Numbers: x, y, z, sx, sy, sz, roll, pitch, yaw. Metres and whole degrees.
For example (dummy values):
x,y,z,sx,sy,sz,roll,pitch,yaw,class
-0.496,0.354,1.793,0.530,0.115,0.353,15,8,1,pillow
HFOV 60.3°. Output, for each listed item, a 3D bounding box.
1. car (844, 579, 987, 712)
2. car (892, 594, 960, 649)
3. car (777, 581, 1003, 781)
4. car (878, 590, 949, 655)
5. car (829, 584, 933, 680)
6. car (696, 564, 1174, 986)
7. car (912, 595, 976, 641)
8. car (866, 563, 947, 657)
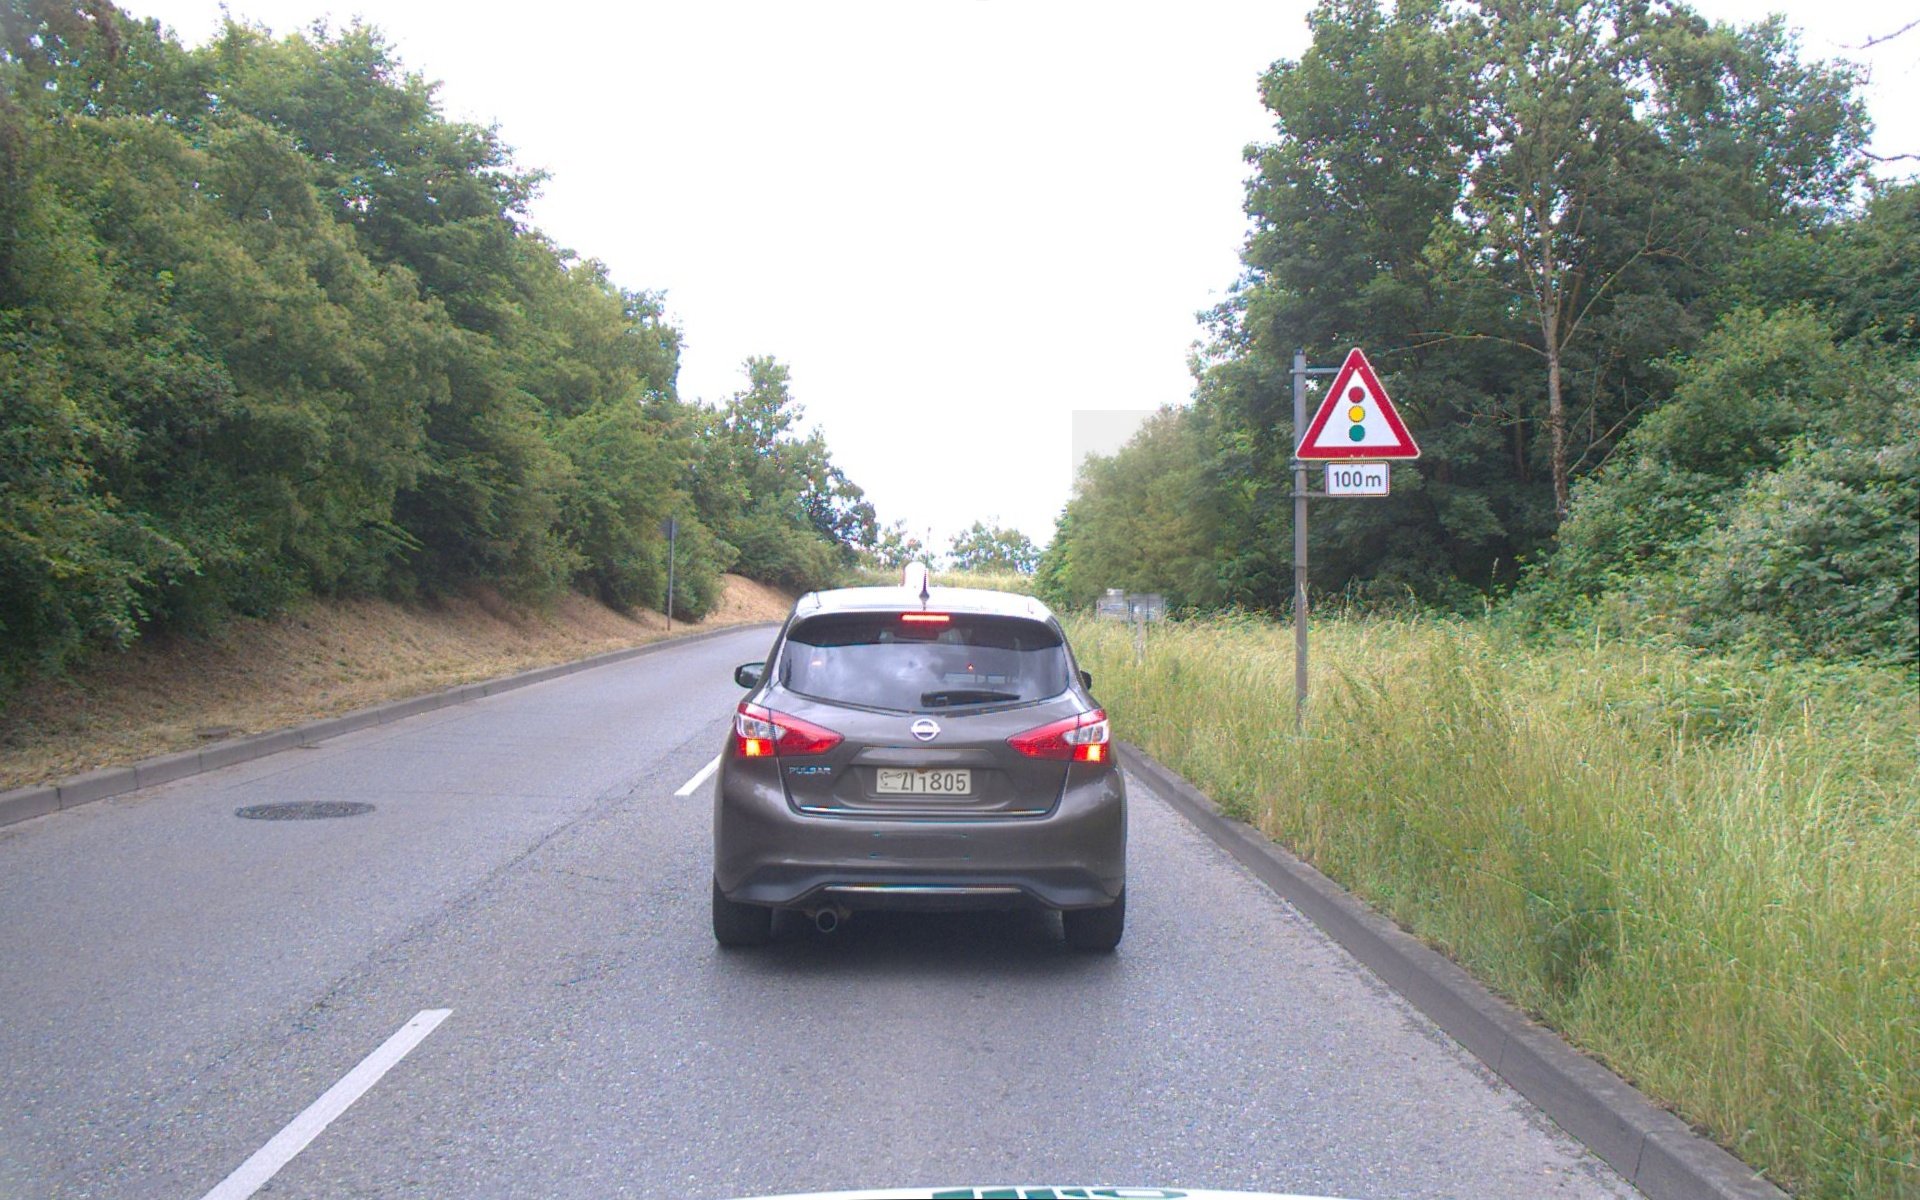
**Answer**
x,y,z,sx,sy,sz,roll,pitch,yaw,class
-0.553,0.532,21.514,1.700,1.583,3.543,0,0,-1,car
-0.963,0.600,48.625,1.699,1.553,3.643,0,0,4,car
-0.576,0.631,14.936,1.793,1.583,3.624,0,0,-1,car
-1.181,0.528,41.562,1.701,1.553,3.542,0,0,-2,car
-1.339,0.522,29.050,1.700,1.583,3.543,0,0,-1,car
-0.172,0.661,8.017,1.794,1.583,3.497,1,0,-3,car
-0.524,0.596,57.837,1.699,1.553,3.644,0,0,9,car
-1.140,0.197,36.365,1.700,1.968,3.543,0,0,-1,car
